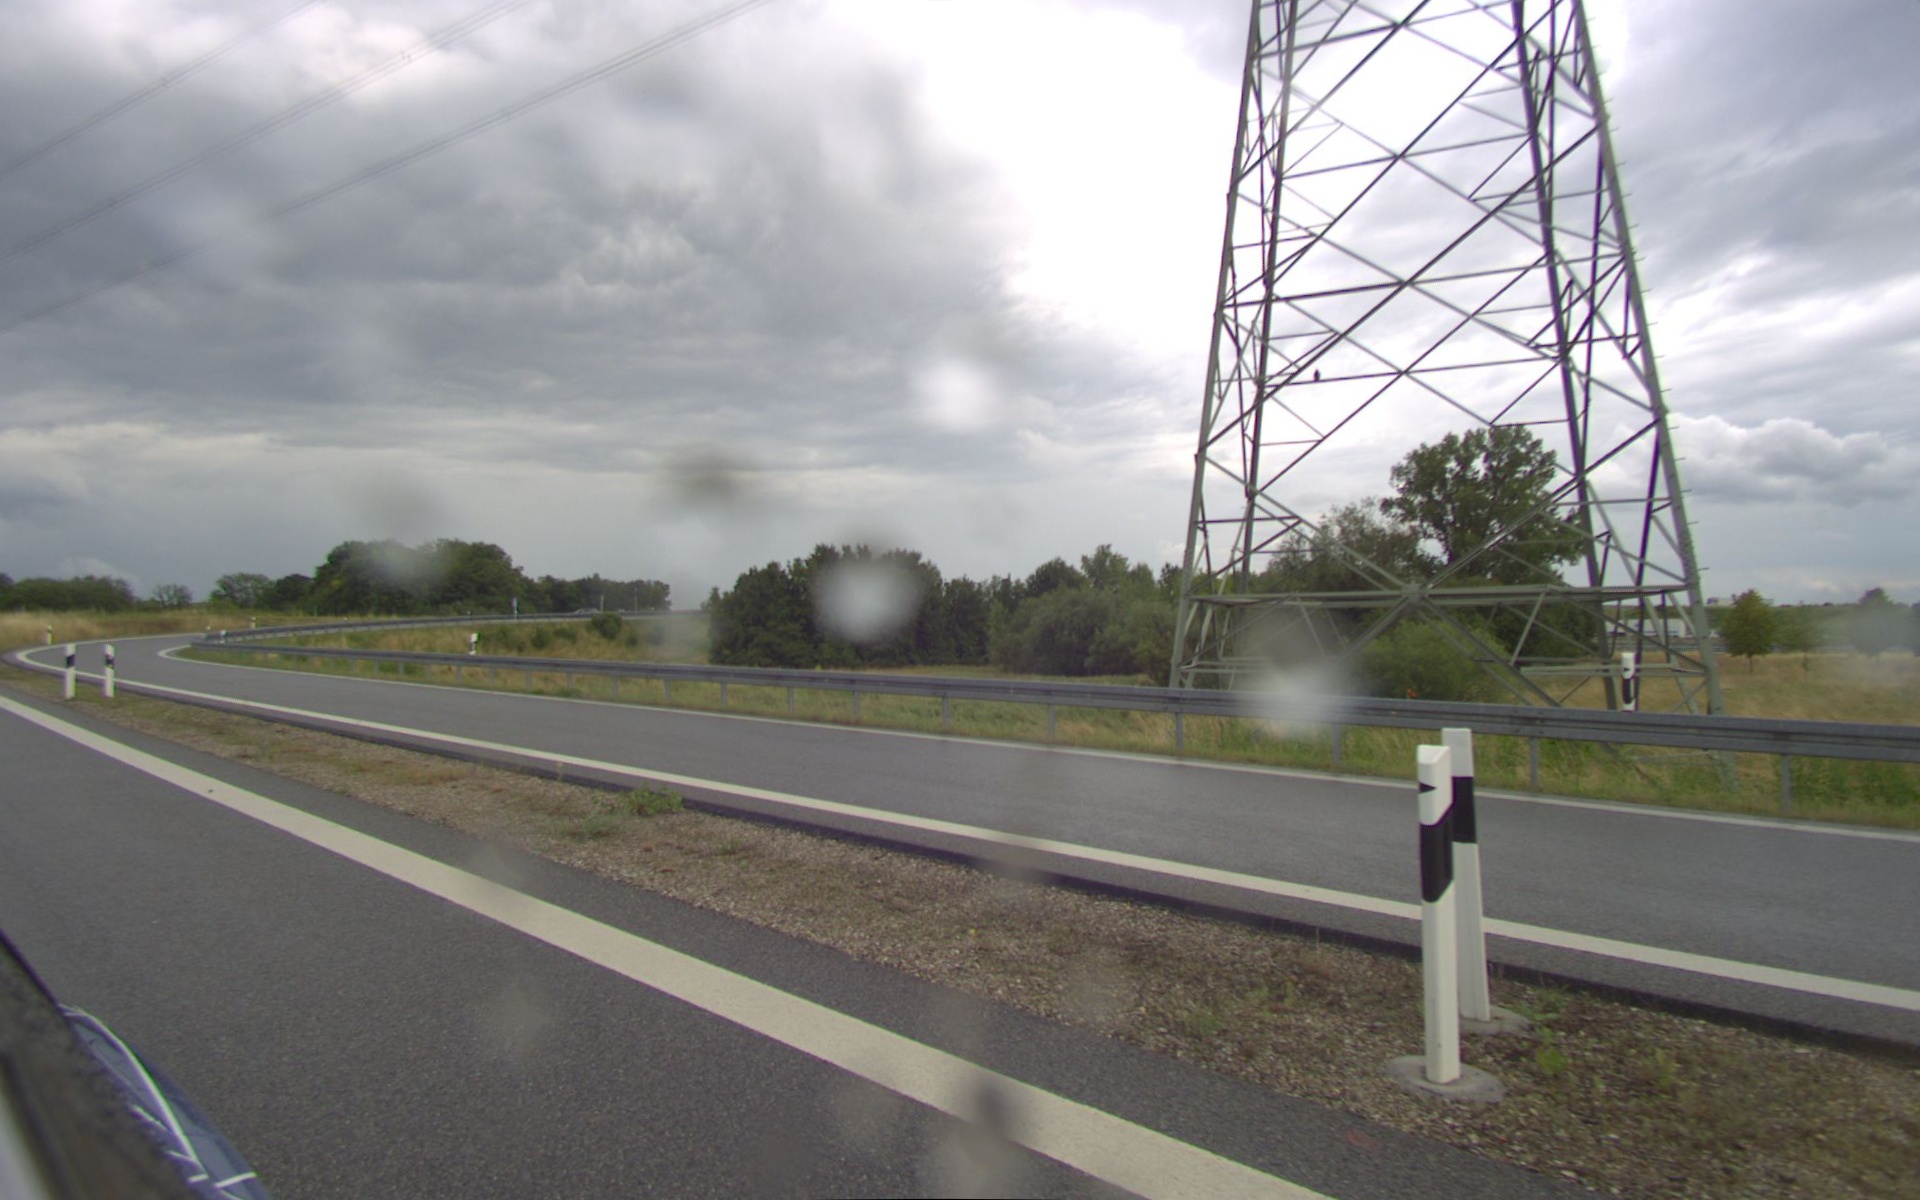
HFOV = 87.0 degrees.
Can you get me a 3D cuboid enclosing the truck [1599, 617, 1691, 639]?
[{"bbox_3d":[112.404,4.678,166.387,3.177,3.115,12.079,0,-3,-33],"label":"truck"}]
